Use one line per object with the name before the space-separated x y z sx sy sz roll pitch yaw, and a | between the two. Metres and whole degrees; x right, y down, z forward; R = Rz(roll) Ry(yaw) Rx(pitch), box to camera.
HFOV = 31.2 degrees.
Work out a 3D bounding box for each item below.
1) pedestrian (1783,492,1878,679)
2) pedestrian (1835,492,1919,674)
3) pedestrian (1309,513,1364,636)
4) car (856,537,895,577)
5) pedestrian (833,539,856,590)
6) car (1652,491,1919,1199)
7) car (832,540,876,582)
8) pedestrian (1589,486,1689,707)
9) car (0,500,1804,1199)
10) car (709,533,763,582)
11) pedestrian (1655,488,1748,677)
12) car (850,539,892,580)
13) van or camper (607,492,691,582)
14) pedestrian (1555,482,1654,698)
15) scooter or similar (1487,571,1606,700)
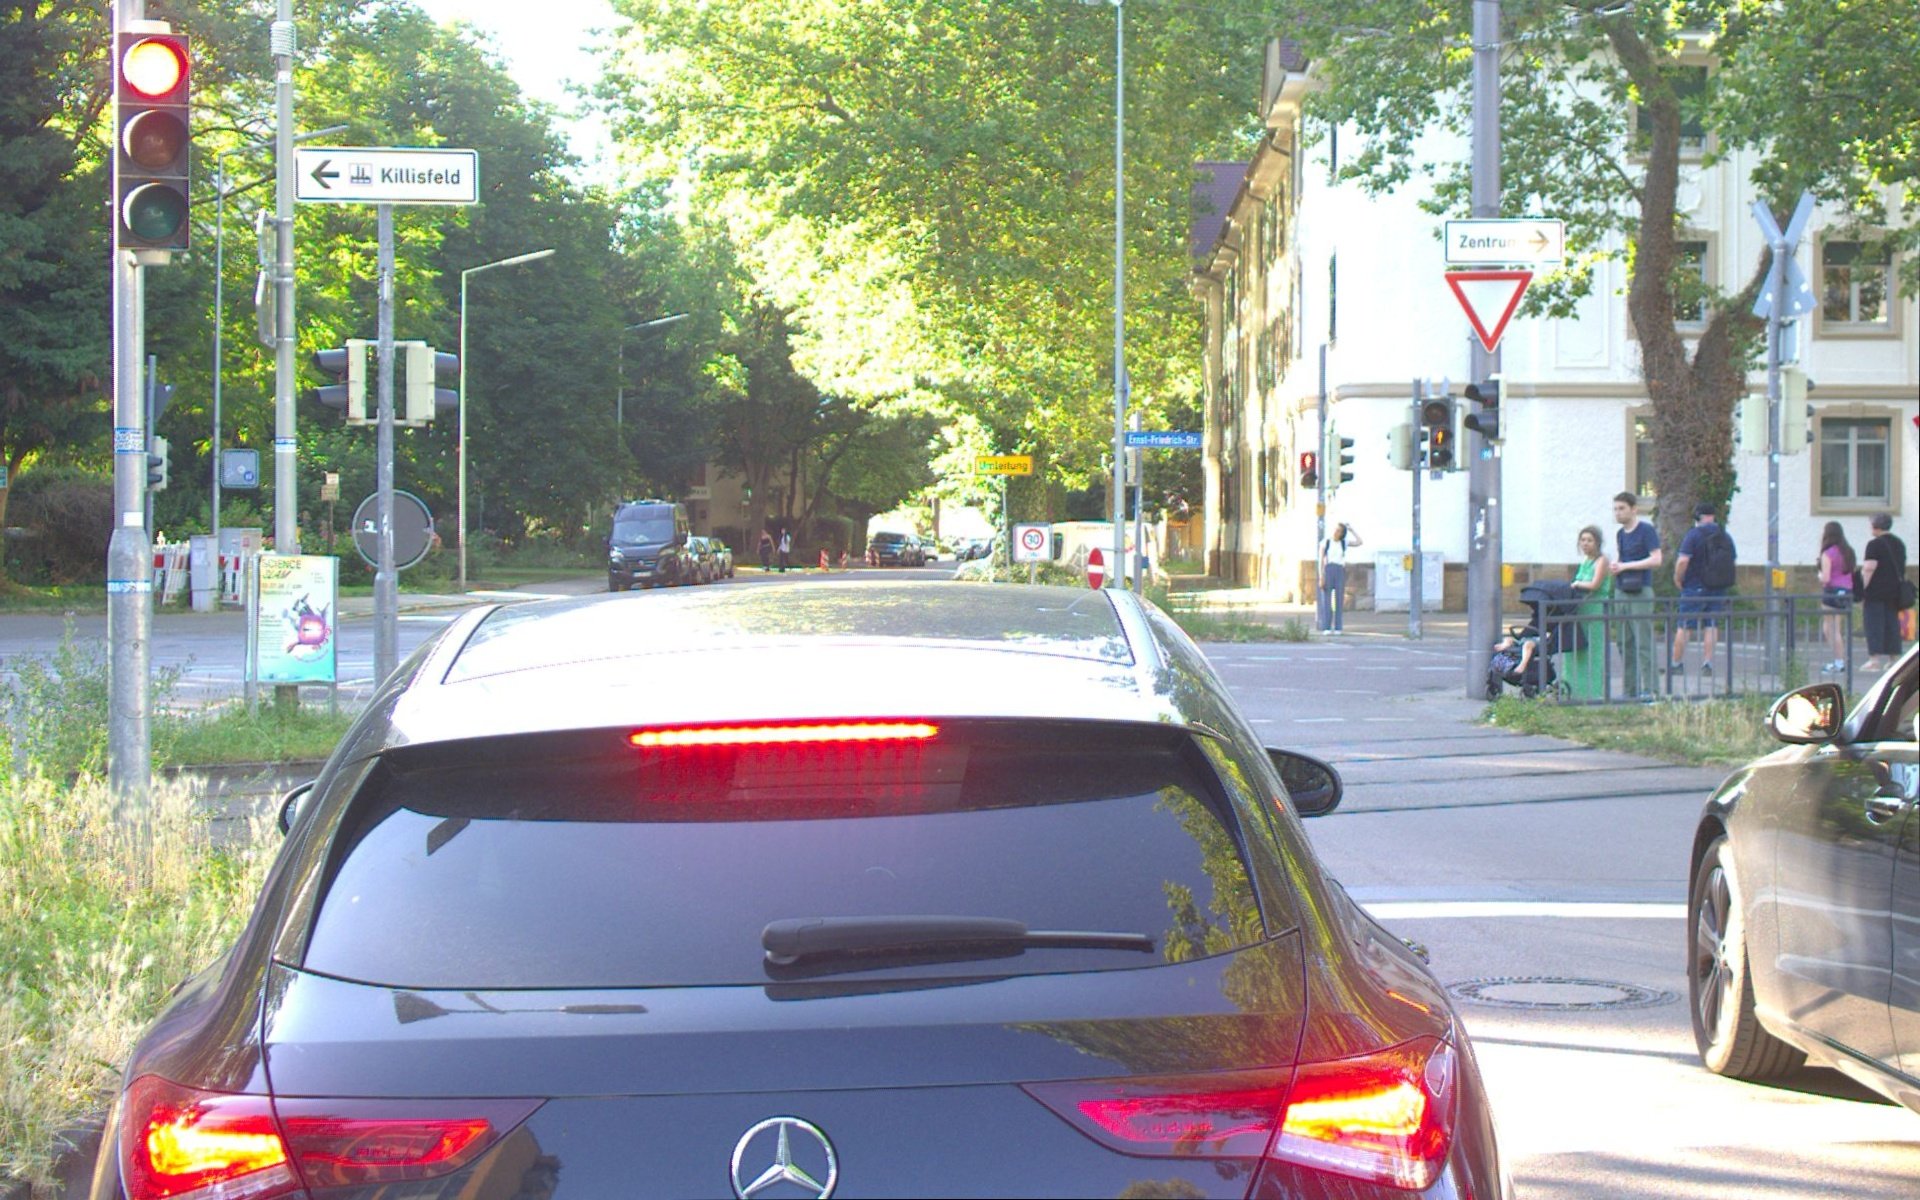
pedestrian | 9.024 -0.151 35.673 0.705 1.911 0.839 1 0 -4
pedestrian | 9.834 -0.180 36.673 0.705 1.911 0.839 1 0 -4
pedestrian | 5.926 -0.405 54.125 0.705 1.911 0.839 1 0 -4
car | -3.897 -1.978 158.469 1.733 1.759 4.019 1 1 -1
pedestrian | -4.363 -1.330 130.030 0.705 1.911 0.839 1 0 -10
car | 2.862 0.572 7.272 1.889 1.485 4.382 1 3 0
car | -4.478 -1.654 145.567 1.733 1.759 4.019 1 1 -1
pedestrian | 5.943 -0.033 30.123 0.682 1.911 0.707 1 0 -2
car | -0.126 0.630 5.310 1.889 1.445 4.001 1 3 1
car | -8.224 -1.571 126.407 1.733 1.759 3.971 1 1 -1
pedestrian | 7.612 -0.179 35.317 0.705 1.911 0.839 1 0 -4
car | -3.875 -1.755 150.387 1.733 1.759 4.019 1 1 -1
van or camper | -8.991 -1.808 99.741 1.993 2.532 4.651 1 1 0
pedestrian | 5.785 -0.096 30.894 0.682 1.911 0.707 1 0 -4
scooter or similar | 5.129 0.305 30.093 0.828 1.101 0.809 1 0 -6
